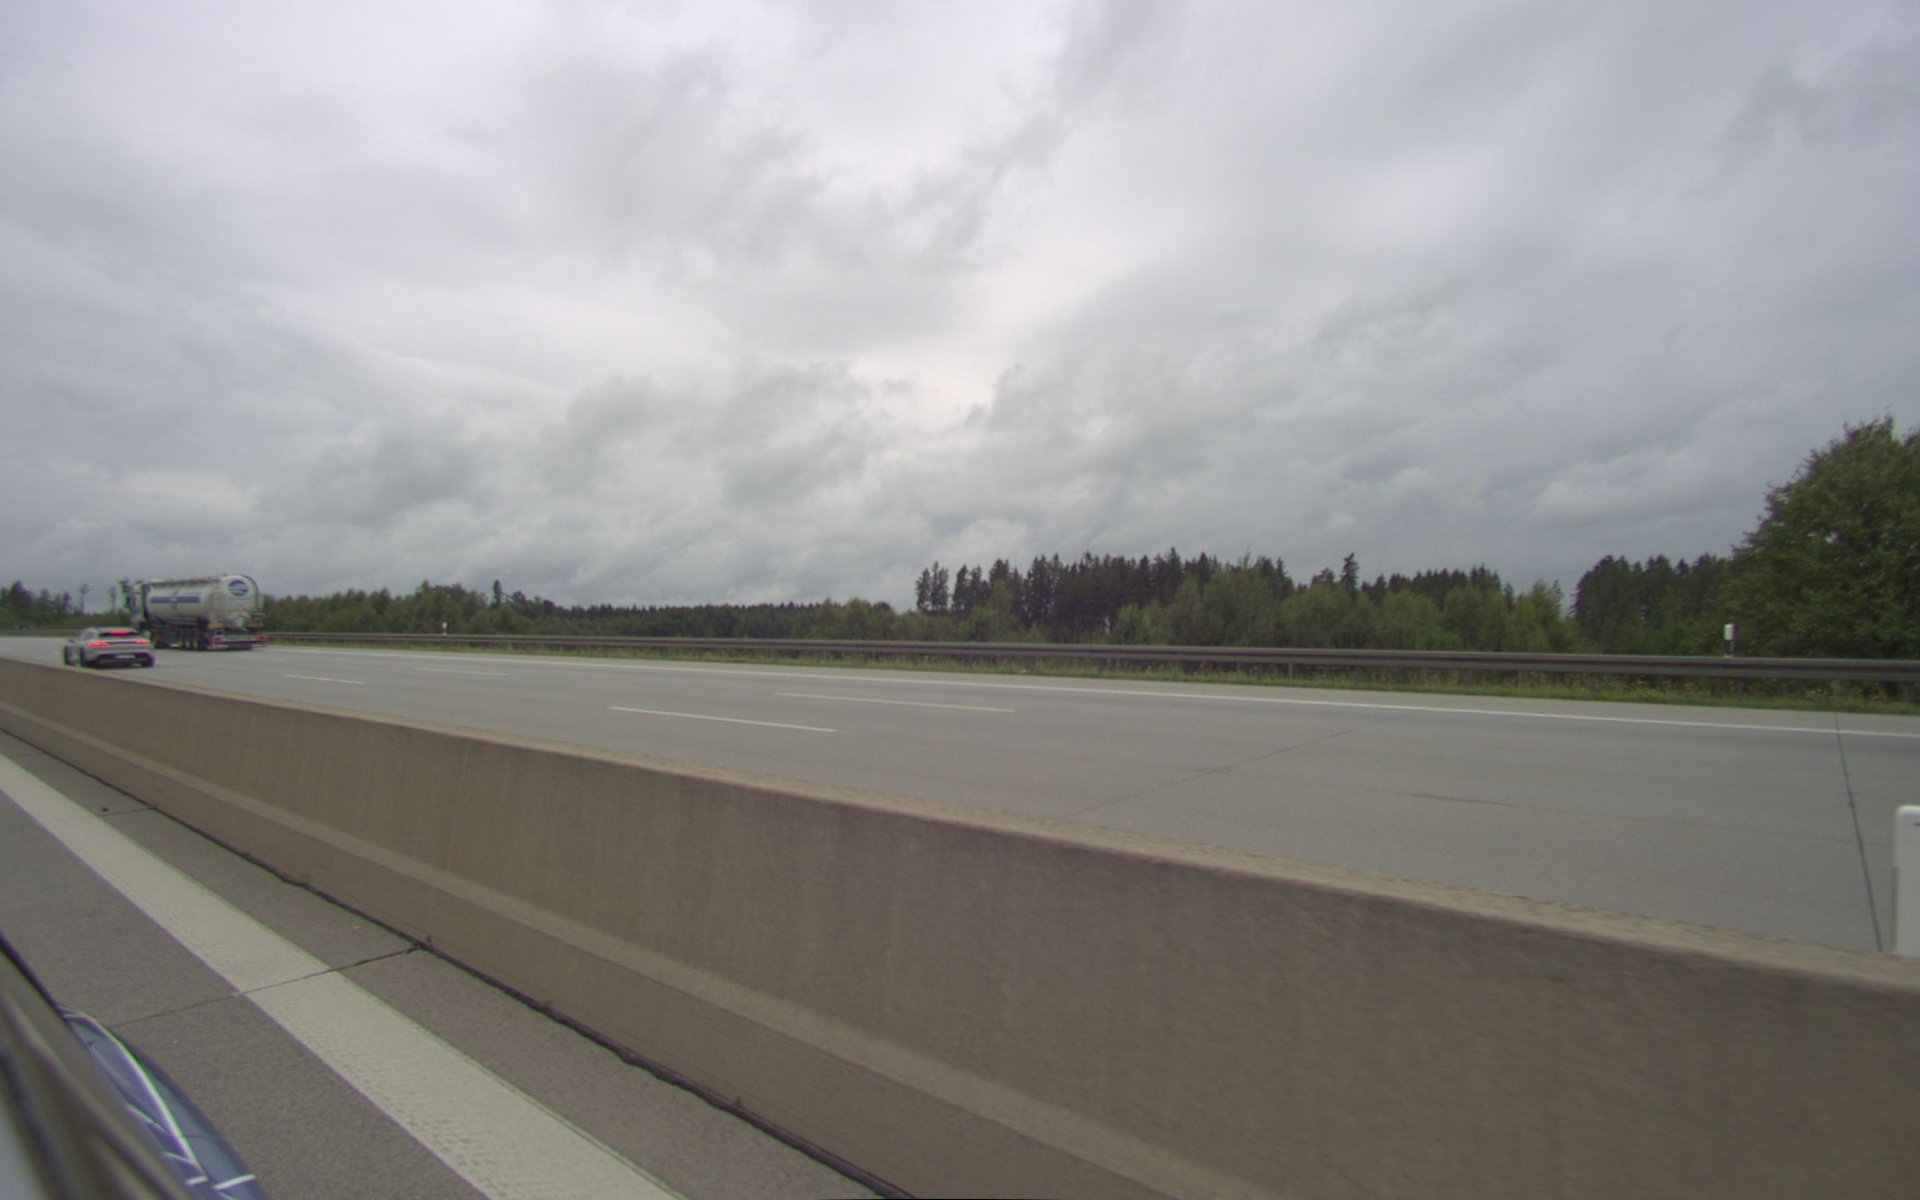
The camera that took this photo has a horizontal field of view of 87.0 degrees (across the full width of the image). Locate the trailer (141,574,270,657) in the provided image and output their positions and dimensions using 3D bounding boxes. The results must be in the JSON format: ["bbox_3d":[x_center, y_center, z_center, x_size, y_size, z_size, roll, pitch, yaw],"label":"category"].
[{"bbox_3d":[-40.721,0.836,54.371,12.277,4.029,2.731,-1,-1,40],"label":"trailer"}]

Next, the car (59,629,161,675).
[{"bbox_3d":[-30.325,1.837,36.068,4.763,1.452,1.974,-3,-1,40],"label":"car"}]

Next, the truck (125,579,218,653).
[{"bbox_3d":[-45.527,0.911,58.352,6.922,4.029,2.720,-2,-1,39],"label":"truck"}]
